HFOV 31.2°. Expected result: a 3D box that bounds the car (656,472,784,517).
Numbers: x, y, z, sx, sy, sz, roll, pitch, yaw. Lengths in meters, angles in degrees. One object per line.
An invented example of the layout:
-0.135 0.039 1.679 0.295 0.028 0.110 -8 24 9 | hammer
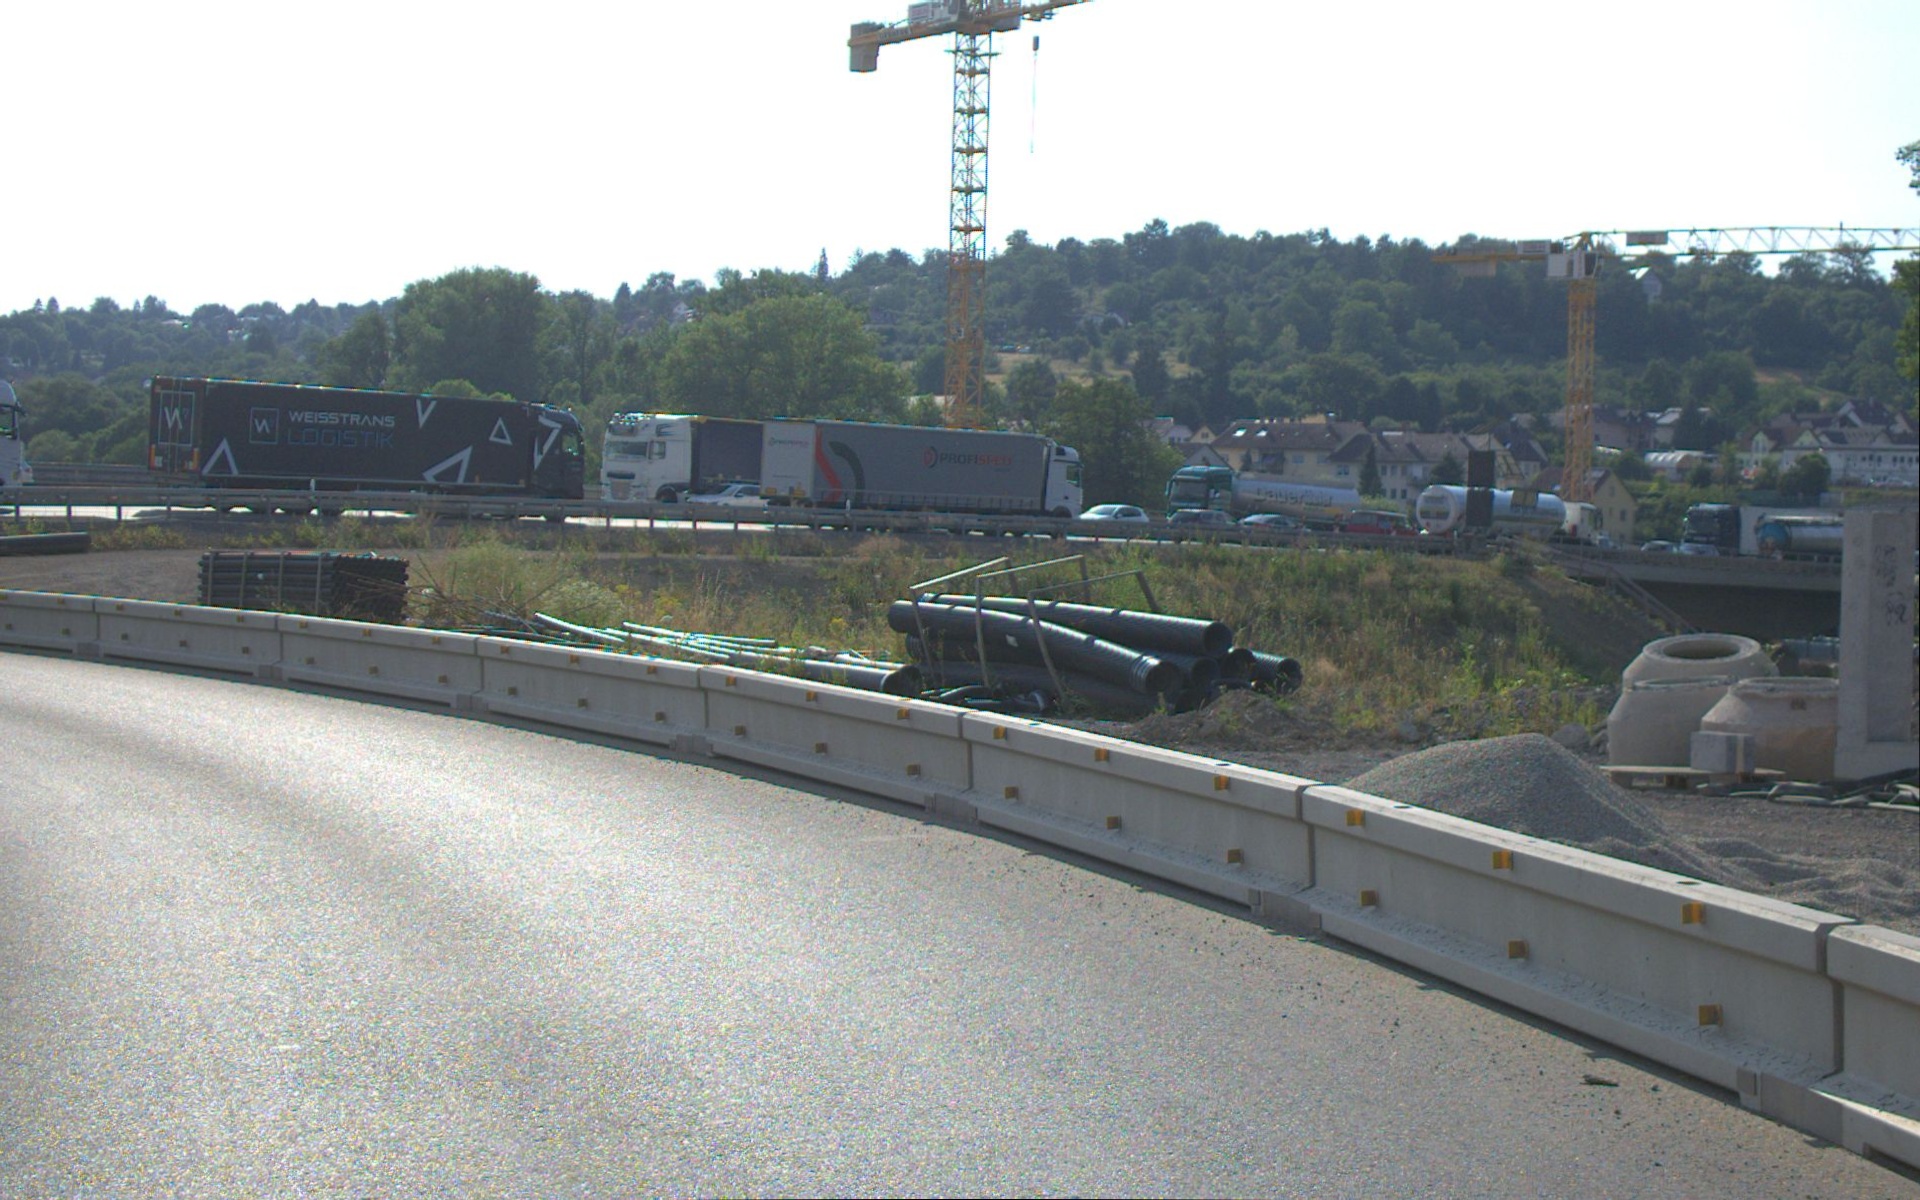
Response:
-9.341 -4.115 134.024 2.034 1.495 4.968 6 4 39 | car

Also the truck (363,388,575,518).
-16.283 -4.859 114.357 2.892 3.982 6.609 4 2 40 | truck

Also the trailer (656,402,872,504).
-7.928 -5.943 140.425 3.014 3.739 9.547 2 1 40 | trailer

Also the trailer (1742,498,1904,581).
48.966 -3.360 194.581 3.111 4.299 14.219 4 2 38 | trailer

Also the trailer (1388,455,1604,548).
26.256 -4.725 167.474 3.393 3.982 14.711 4 2 38 | trailer

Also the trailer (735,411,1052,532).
-2.343 -4.844 131.893 3.393 3.982 14.711 4 2 38 | trailer

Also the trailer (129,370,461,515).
-20.890 -4.908 108.821 2.966 4.077 10.768 3 1 40 | trailer

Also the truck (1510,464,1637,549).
30.980 -4.686 173.404 3.398 3.982 6.609 4 2 39 | truck

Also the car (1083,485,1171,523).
7.466 -4.299 153.565 1.660 1.495 4.228 6 4 39 | car

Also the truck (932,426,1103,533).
2.354 -4.804 137.705 3.351 3.982 6.609 4 2 38 | truck

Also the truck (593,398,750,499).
-11.407 -5.966 136.182 3.003 3.714 5.675 2 1 39 | truck

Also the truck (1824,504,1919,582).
53.214 -3.312 199.926 3.105 4.270 6.609 4 2 38 | truck

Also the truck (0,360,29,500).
-30.082 -4.979 97.417 2.855 3.982 6.609 4 2 38 | truck
